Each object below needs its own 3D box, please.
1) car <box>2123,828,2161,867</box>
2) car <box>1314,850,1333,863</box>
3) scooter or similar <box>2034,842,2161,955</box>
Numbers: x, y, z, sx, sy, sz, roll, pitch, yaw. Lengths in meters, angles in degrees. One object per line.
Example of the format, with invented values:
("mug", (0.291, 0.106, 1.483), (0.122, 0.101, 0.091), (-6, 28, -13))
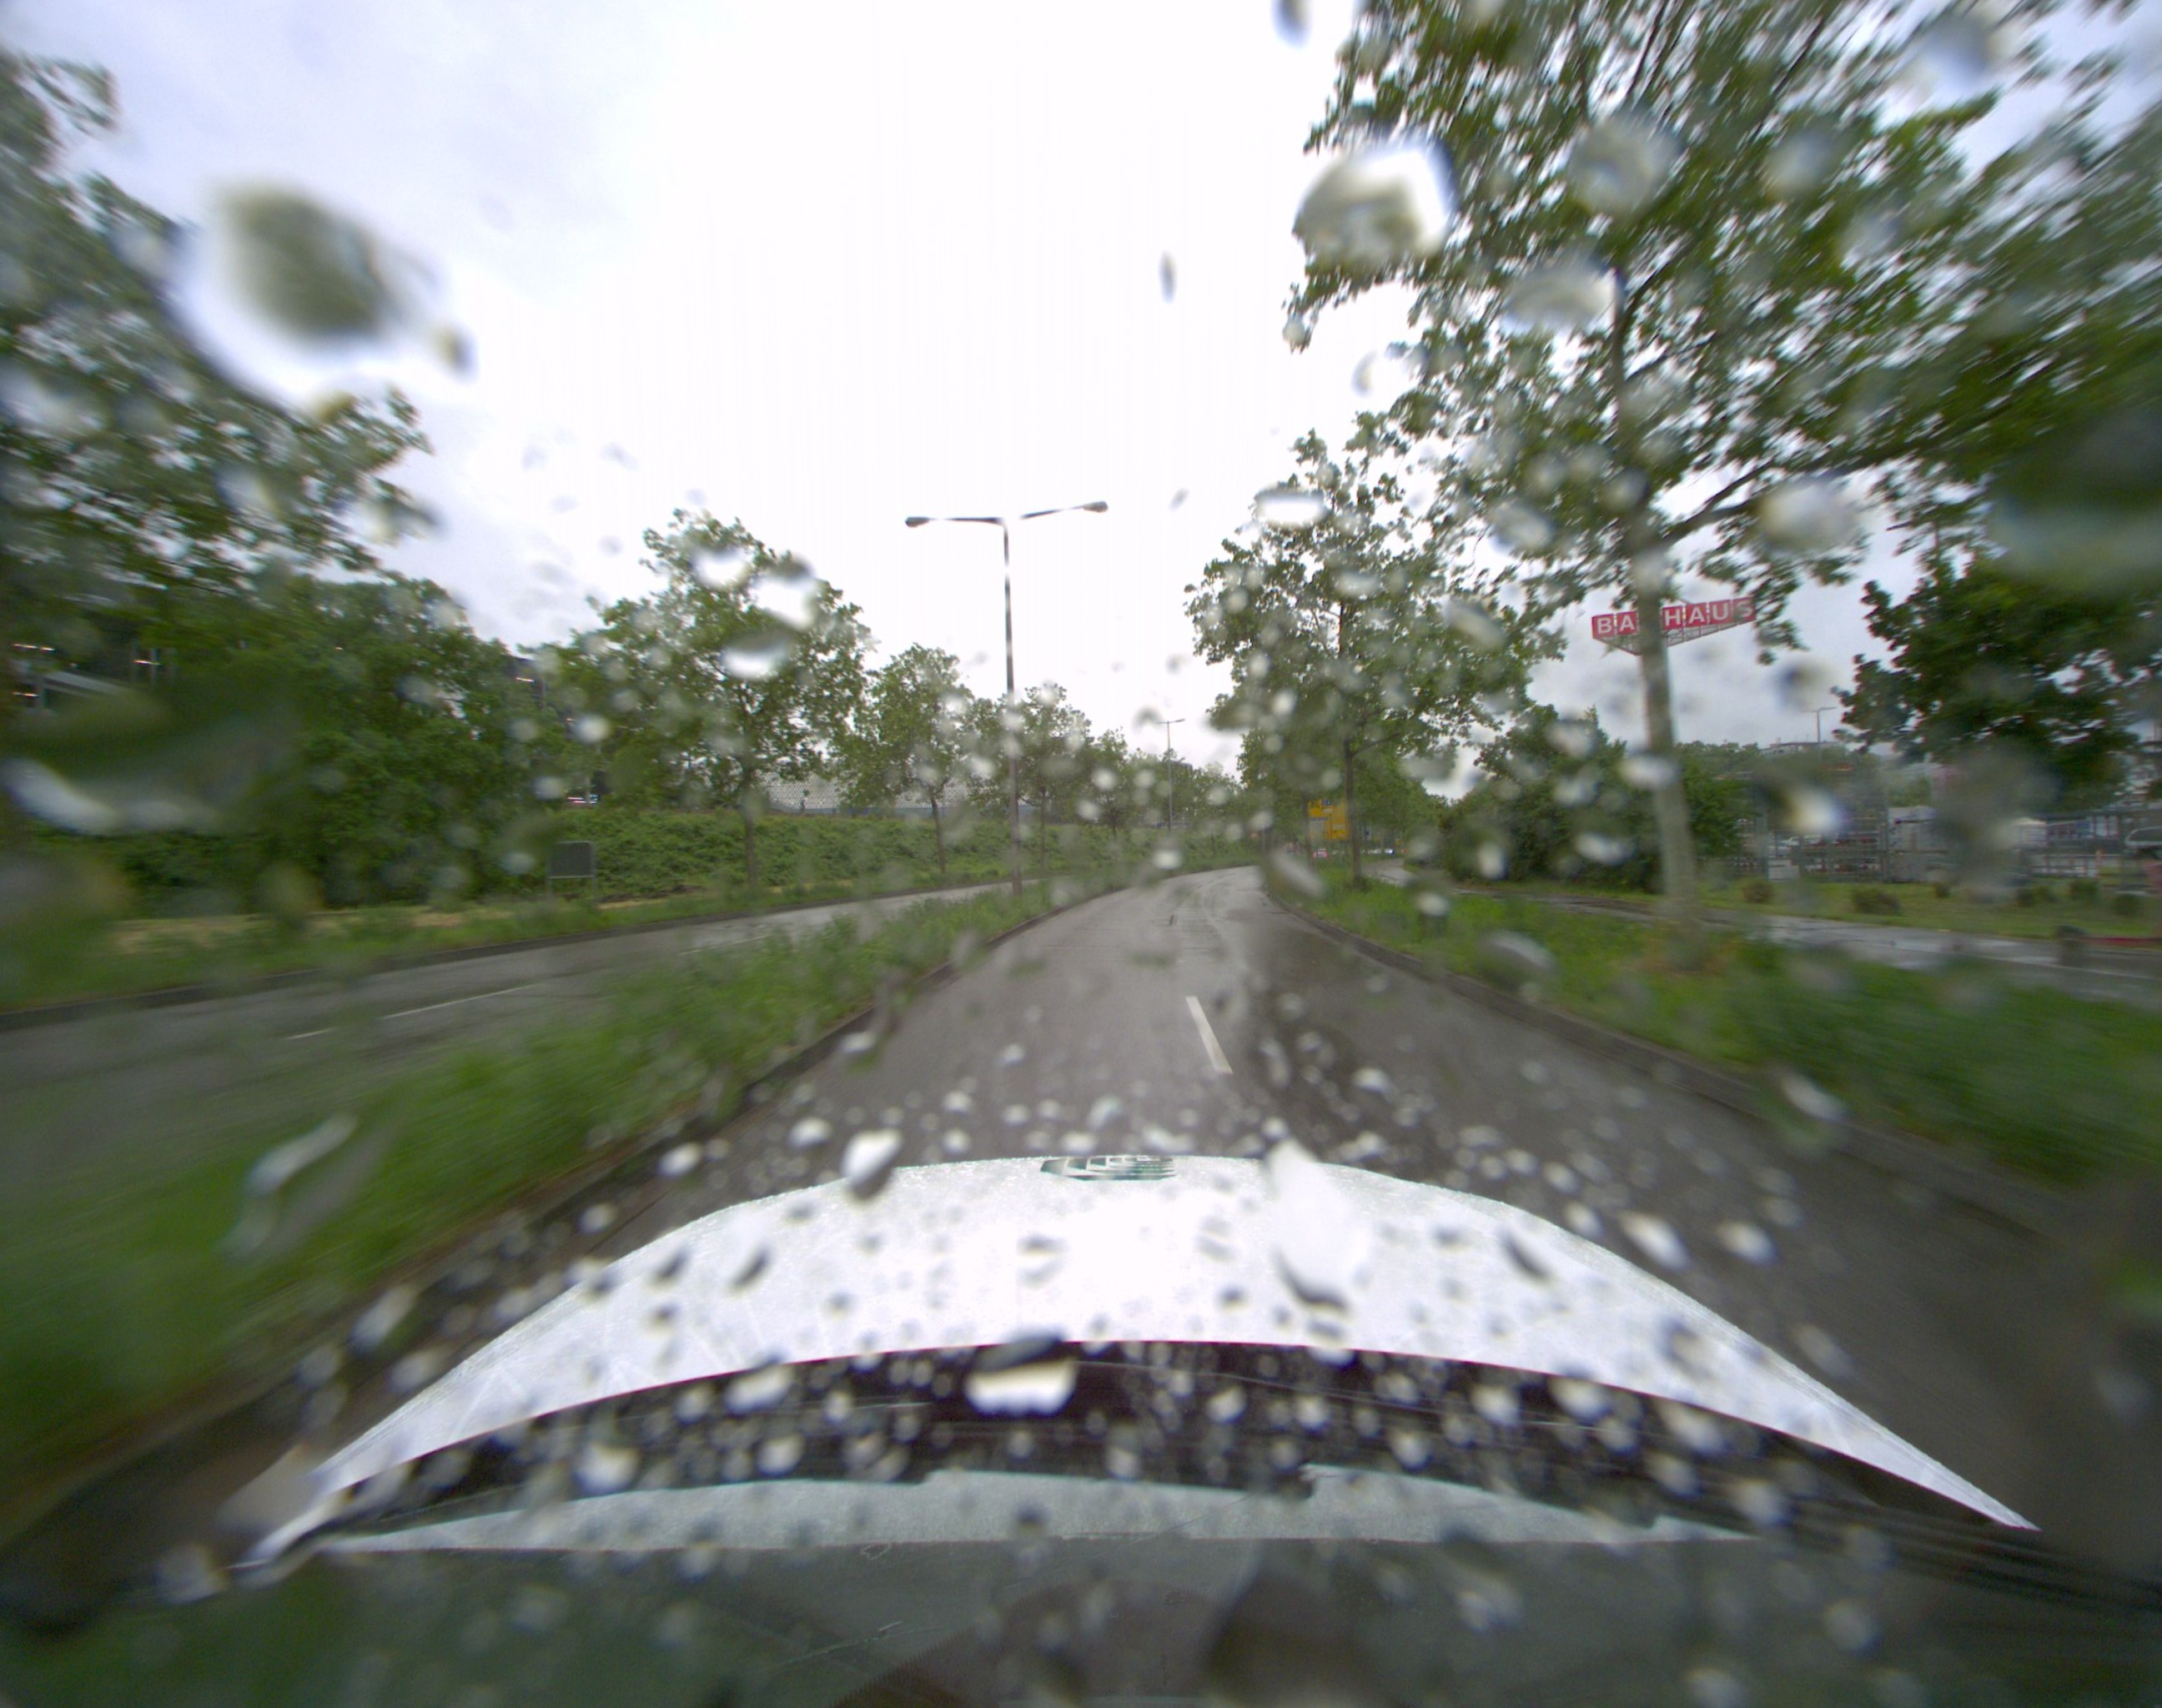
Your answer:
("car", (45.724, -0.296, 32.715), (1.911, 1.578, 4.426), (-1, -1, -6))
("car", (30.072, 0.271, 100.934), (1.763, 1.555, 4.023), (0, 0, 24))
("scooter or similar", (11.712, 0.475, 9.187), (0.548, 1.198, 1.107), (-1, -1, -10))
